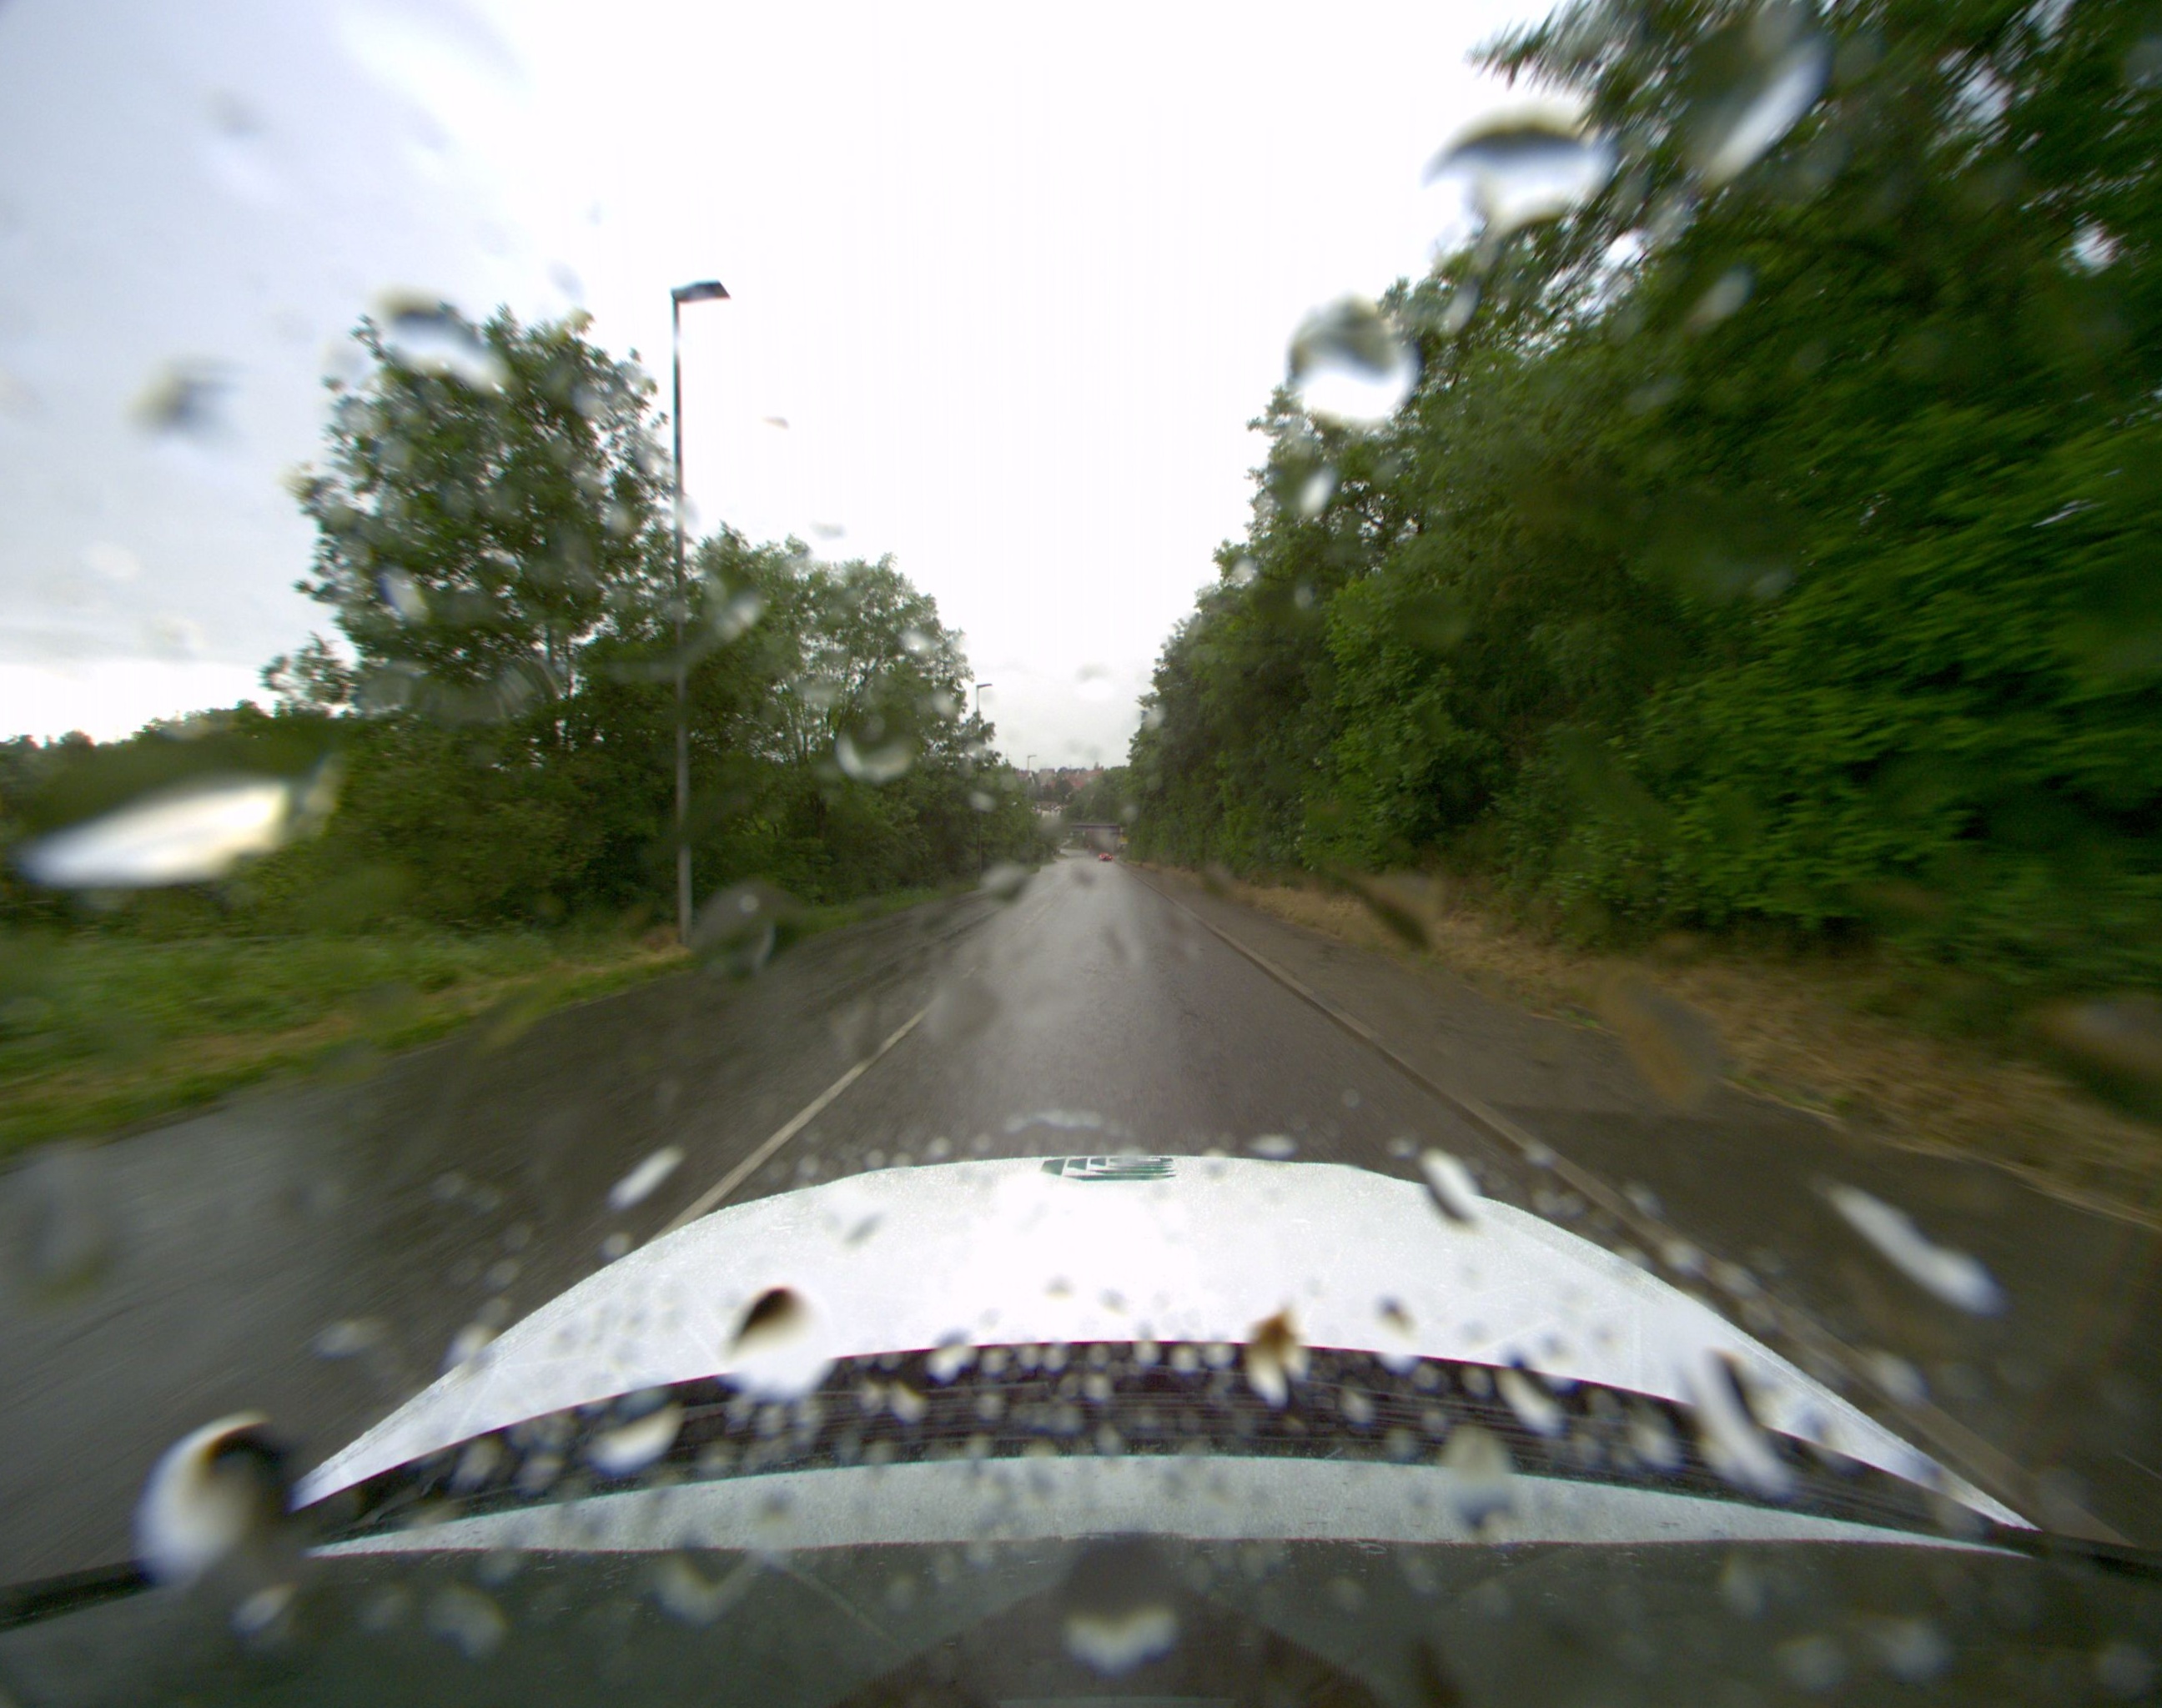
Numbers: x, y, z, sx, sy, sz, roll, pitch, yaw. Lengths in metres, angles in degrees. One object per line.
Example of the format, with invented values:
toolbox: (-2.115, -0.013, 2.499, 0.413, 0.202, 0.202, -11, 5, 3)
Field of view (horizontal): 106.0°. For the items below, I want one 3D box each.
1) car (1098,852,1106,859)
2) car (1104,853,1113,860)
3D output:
car: (4.401, 0.312, 170.345, 1.761, 1.563, 4.002, -1, 0, 2)
car: (5.481, 0.532, 163.556, 1.761, 1.380, 4.002, -1, 0, 2)
